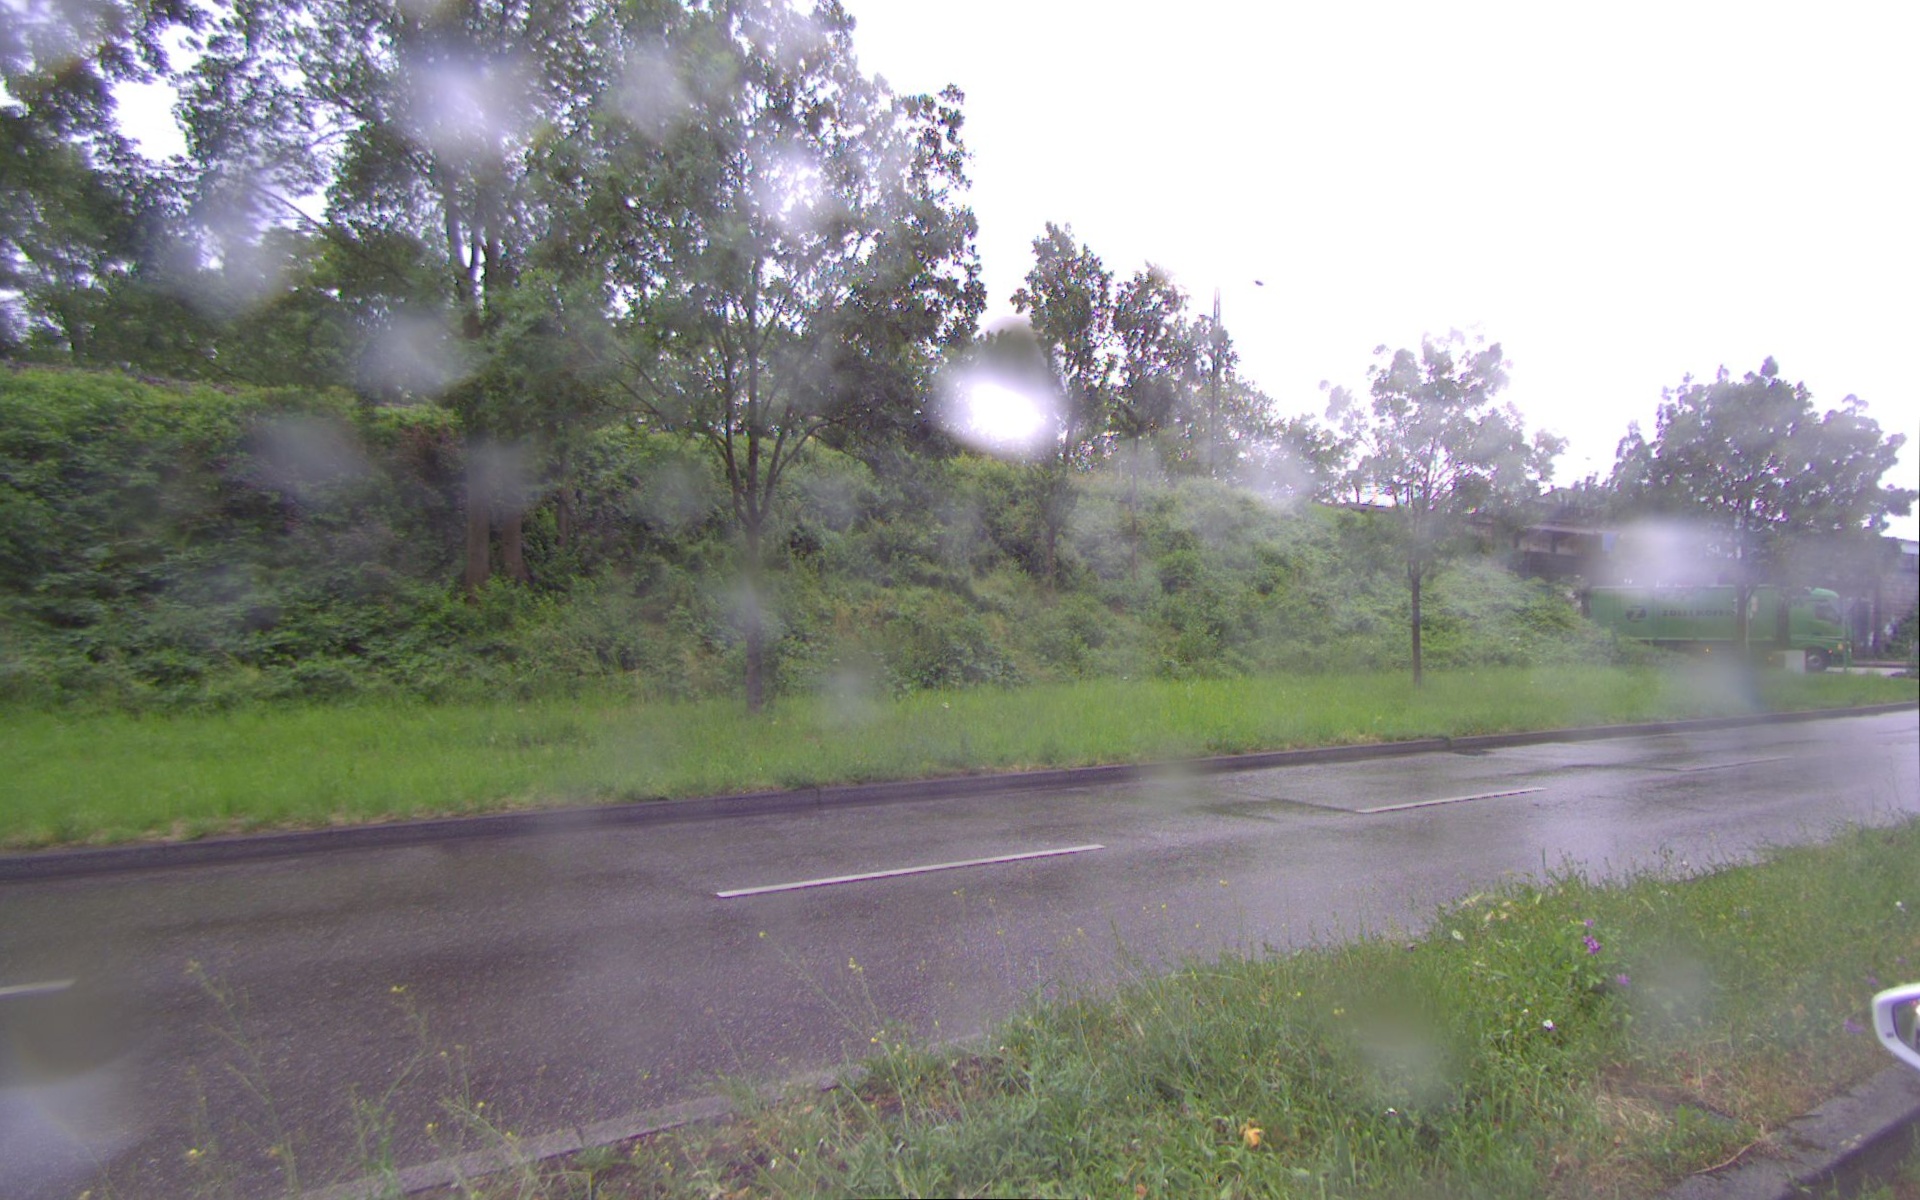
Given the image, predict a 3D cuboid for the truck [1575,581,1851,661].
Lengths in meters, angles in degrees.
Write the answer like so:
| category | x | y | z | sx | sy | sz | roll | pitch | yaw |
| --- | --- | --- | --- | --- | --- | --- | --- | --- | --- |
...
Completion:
| category | x | y | z | sx | sy | sz | roll | pitch | yaw |
| --- | --- | --- | --- | --- | --- | --- | --- | --- | --- |
| truck | 34.295 | 0.906 | 46.338 | 9.872 | 3.416 | 2.346 | 0 | -1 | 25 |
